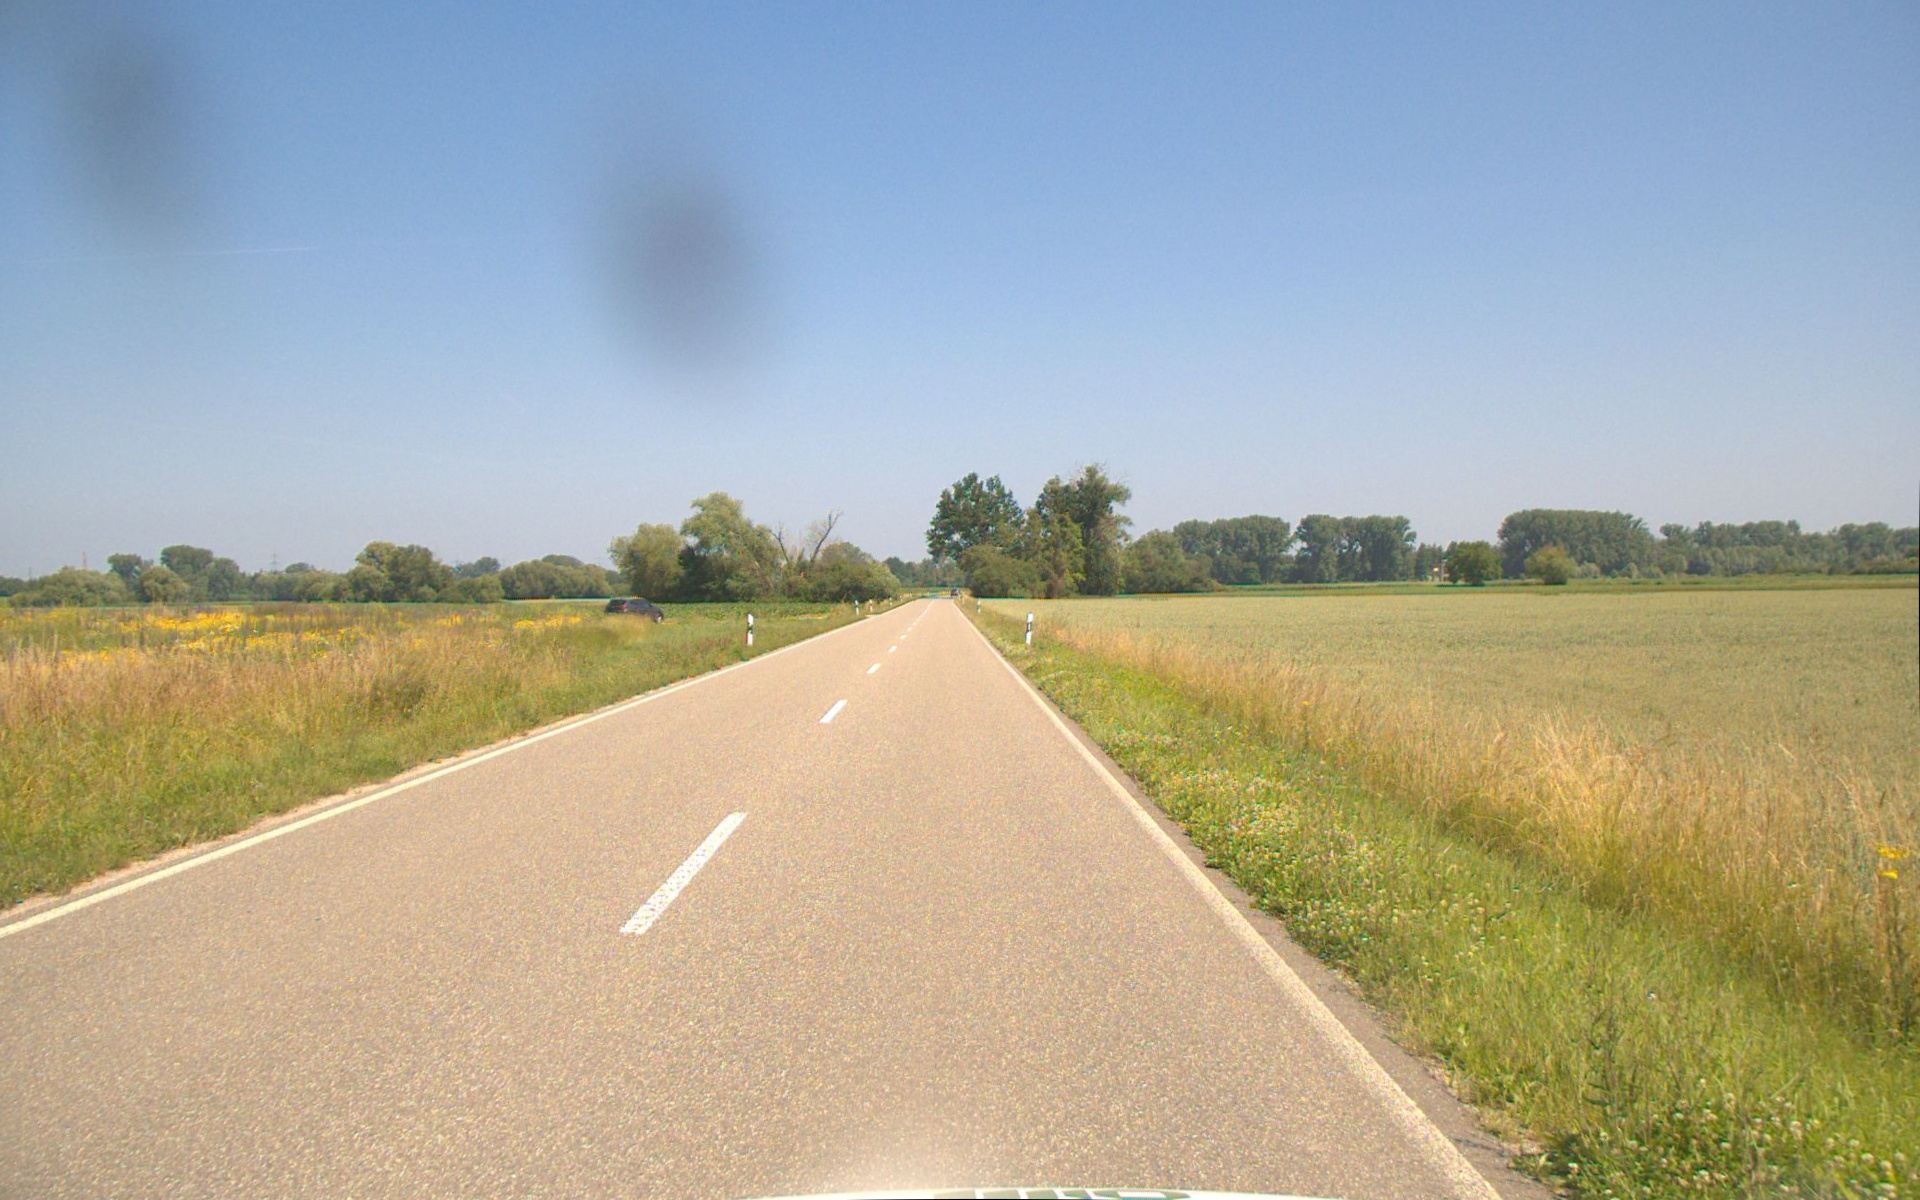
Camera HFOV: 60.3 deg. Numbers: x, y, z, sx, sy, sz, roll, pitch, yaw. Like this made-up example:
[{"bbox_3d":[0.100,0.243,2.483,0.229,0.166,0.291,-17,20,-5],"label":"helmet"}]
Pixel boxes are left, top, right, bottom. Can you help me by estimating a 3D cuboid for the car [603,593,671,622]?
[{"bbox_3d":[-19.843,0.434,101.780,1.718,1.680,4.527,-1,1,25],"label":"car"}]
